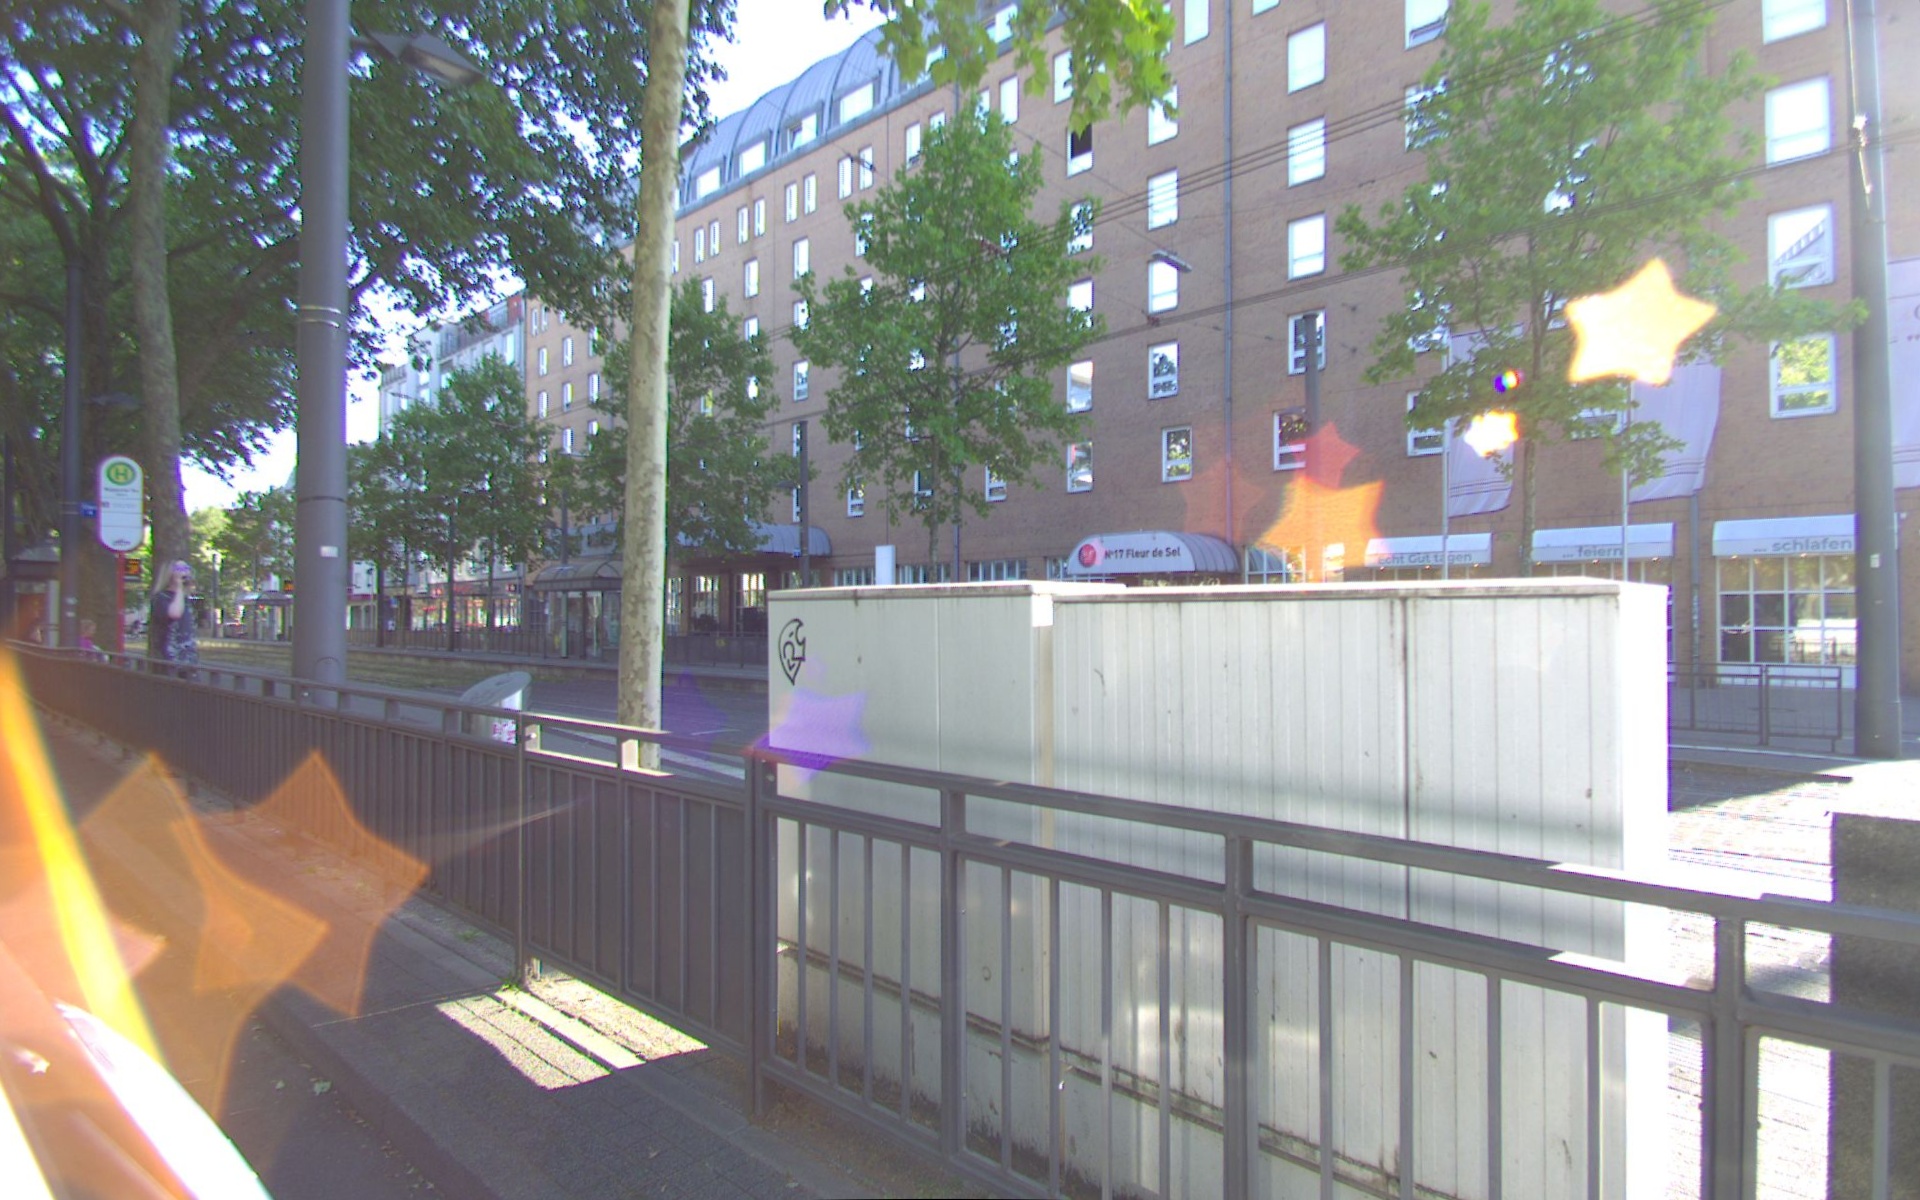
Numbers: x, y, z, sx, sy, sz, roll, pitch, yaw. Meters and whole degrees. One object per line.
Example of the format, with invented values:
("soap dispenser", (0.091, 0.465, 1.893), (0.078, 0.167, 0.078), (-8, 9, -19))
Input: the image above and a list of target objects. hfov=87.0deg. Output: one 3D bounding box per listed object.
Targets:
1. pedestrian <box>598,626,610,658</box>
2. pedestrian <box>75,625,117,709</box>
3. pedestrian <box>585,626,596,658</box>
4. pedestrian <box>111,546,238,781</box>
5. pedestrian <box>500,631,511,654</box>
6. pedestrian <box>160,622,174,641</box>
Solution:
("pedestrian", (-17.138, 2.011, 48.711), (0.431, 1.532, 0.660), (1, -2, -27))
("pedestrian", (-13.956, 1.064, 16.352), (0.493, 1.325, 0.419), (1, -2, -41))
("pedestrian", (-17.698, 2.029, 48.459), (0.431, 1.518, 0.660), (1, -2, -27))
("pedestrian", (-6.644, 0.505, 8.573), (0.619, 1.897, 0.602), (1, 0, 22))
("pedestrian", (-29.154, 2.703, 64.942), (0.516, 1.447, 0.512), (-2, -2, 44))
("pedestrian", (-84.209, 3.357, 107.482), (1.047, 2.029, 1.001), (-2, -3, 44))
